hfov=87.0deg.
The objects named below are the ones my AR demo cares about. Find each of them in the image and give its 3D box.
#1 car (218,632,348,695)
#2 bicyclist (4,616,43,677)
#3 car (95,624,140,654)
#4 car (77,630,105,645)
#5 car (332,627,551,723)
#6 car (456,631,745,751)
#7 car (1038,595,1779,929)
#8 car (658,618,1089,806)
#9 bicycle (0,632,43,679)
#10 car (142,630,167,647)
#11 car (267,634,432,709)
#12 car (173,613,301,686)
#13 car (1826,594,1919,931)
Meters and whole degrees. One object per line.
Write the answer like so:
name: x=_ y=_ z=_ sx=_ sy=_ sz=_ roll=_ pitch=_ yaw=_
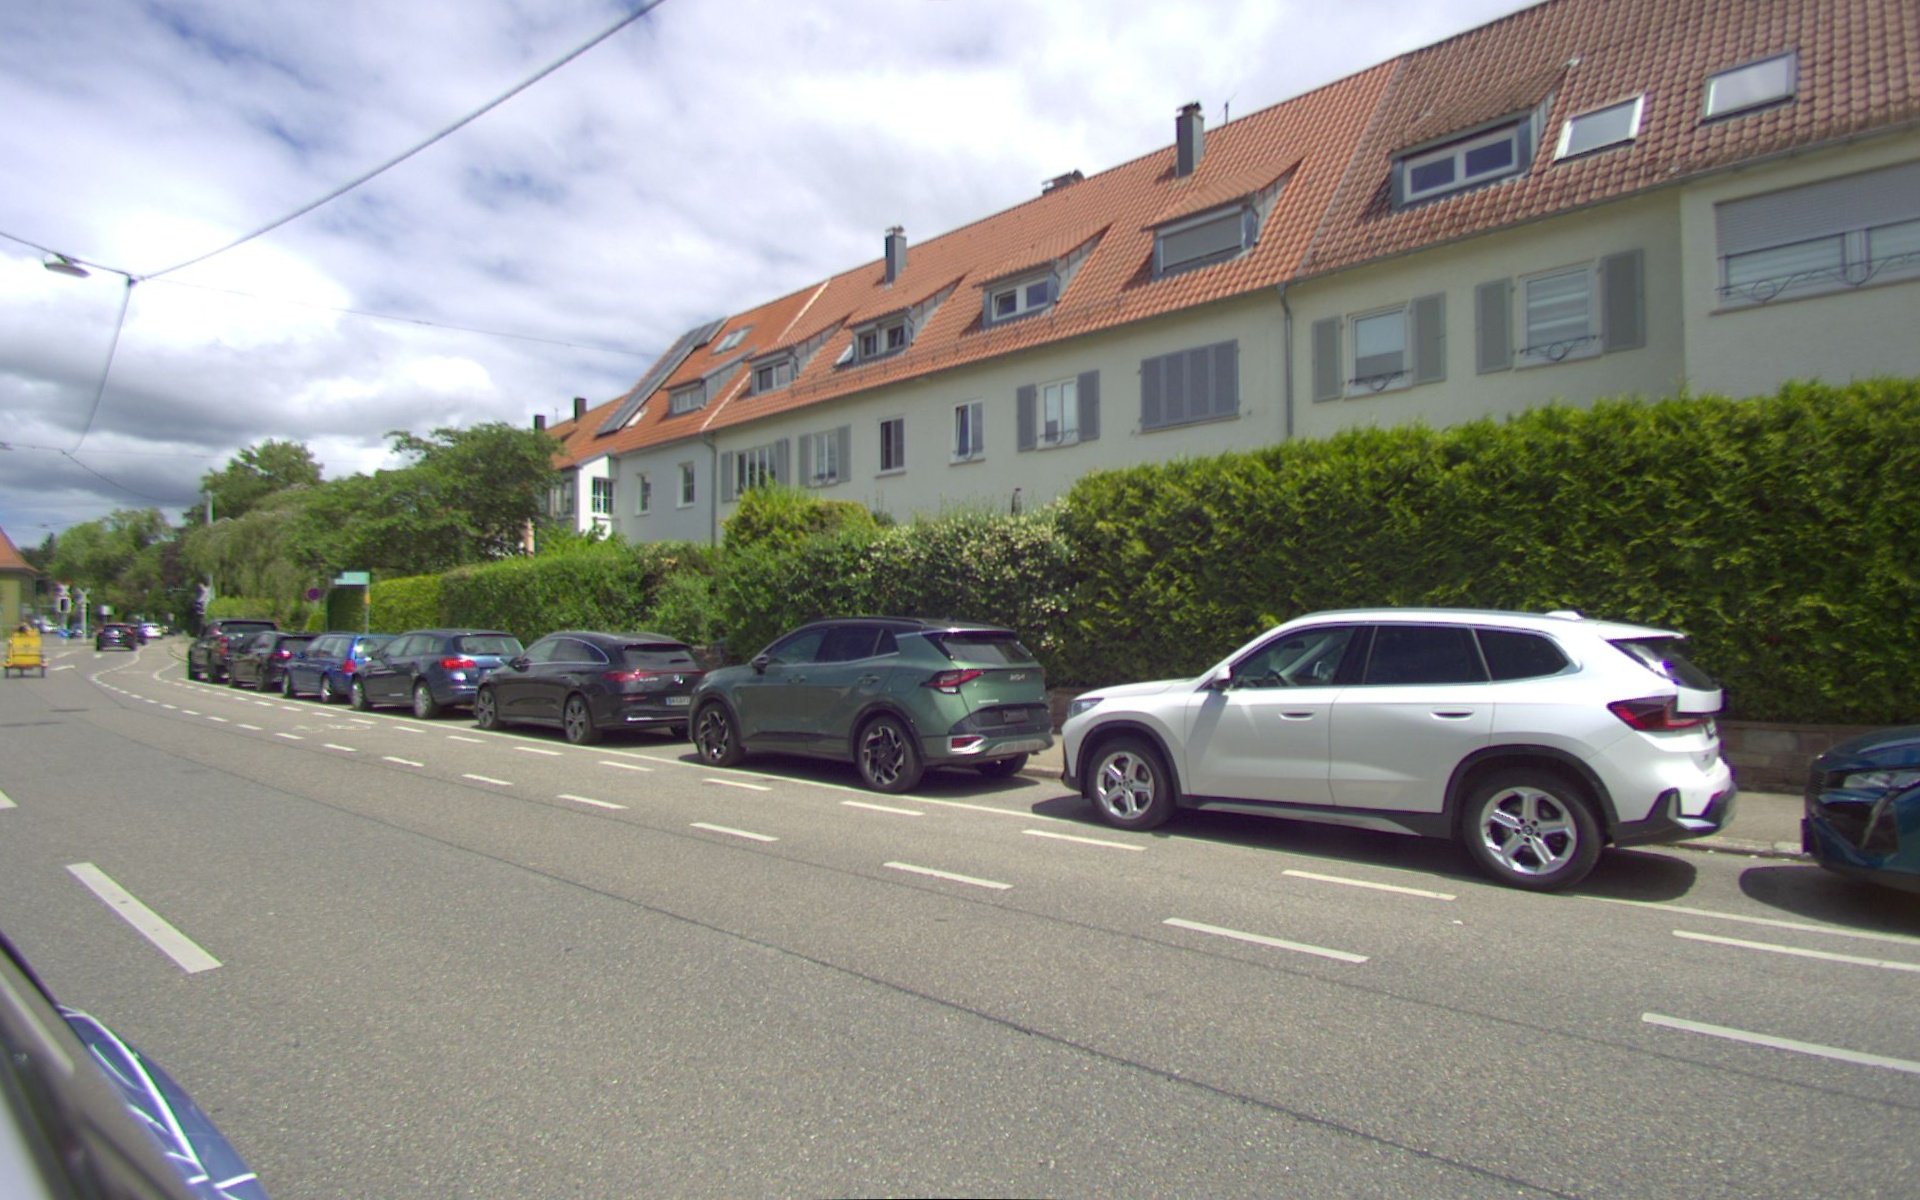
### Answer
car: x=-16.902 y=1.508 z=25.182 sx=4.340 sy=1.428 sz=1.758 roll=-2 pitch=-2 yaw=43
bicyclist: x=-27.463 y=1.346 z=29.661 sx=0.783 sy=1.727 sz=1.209 roll=1 pitch=-2 yaw=-44
car: x=-50.958 y=2.346 z=61.285 sx=1.892 sy=1.661 sz=4.301 roll=6 pitch=-5 yaw=-39
car: x=-90.465 y=3.892 z=105.390 sx=1.967 sy=1.438 sz=4.009 roll=-1 pitch=0 yaw=-36
car: x=-9.311 y=1.240 z=18.029 sx=4.560 sy=1.503 sz=1.760 roll=-1 pitch=-2 yaw=39
car: x=-5.265 y=1.165 z=14.482 sx=4.689 sy=1.419 sz=1.972 roll=-2 pitch=-2 yaw=43
car: x=2.959 y=0.867 z=7.298 sx=4.515 sy=1.663 sz=1.973 roll=-1 pitch=-2 yaw=41
car: x=-1.113 y=1.003 z=10.828 sx=4.689 sy=1.576 sz=1.972 roll=-2 pitch=-2 yaw=43
bicycle: x=-27.544 y=1.602 z=29.646 sx=2.662 sy=1.311 sz=0.854 roll=-2 pitch=-2 yaw=45
car: x=-77.315 y=3.658 z=97.081 sx=1.824 sy=1.587 sz=4.167 roll=0 pitch=-1 yaw=-39
car: x=-13.070 y=1.442 z=21.563 sx=4.438 sy=1.428 sz=1.759 roll=-1 pitch=-2 yaw=42
car: x=-20.881 y=1.398 z=29.129 sx=5.404 sy=1.909 sz=1.971 roll=-2 pitch=-4 yaw=44
car: x=6.718 y=0.755 z=4.323 sx=4.484 sy=1.599 sz=1.974 roll=-1 pitch=-2 yaw=39
